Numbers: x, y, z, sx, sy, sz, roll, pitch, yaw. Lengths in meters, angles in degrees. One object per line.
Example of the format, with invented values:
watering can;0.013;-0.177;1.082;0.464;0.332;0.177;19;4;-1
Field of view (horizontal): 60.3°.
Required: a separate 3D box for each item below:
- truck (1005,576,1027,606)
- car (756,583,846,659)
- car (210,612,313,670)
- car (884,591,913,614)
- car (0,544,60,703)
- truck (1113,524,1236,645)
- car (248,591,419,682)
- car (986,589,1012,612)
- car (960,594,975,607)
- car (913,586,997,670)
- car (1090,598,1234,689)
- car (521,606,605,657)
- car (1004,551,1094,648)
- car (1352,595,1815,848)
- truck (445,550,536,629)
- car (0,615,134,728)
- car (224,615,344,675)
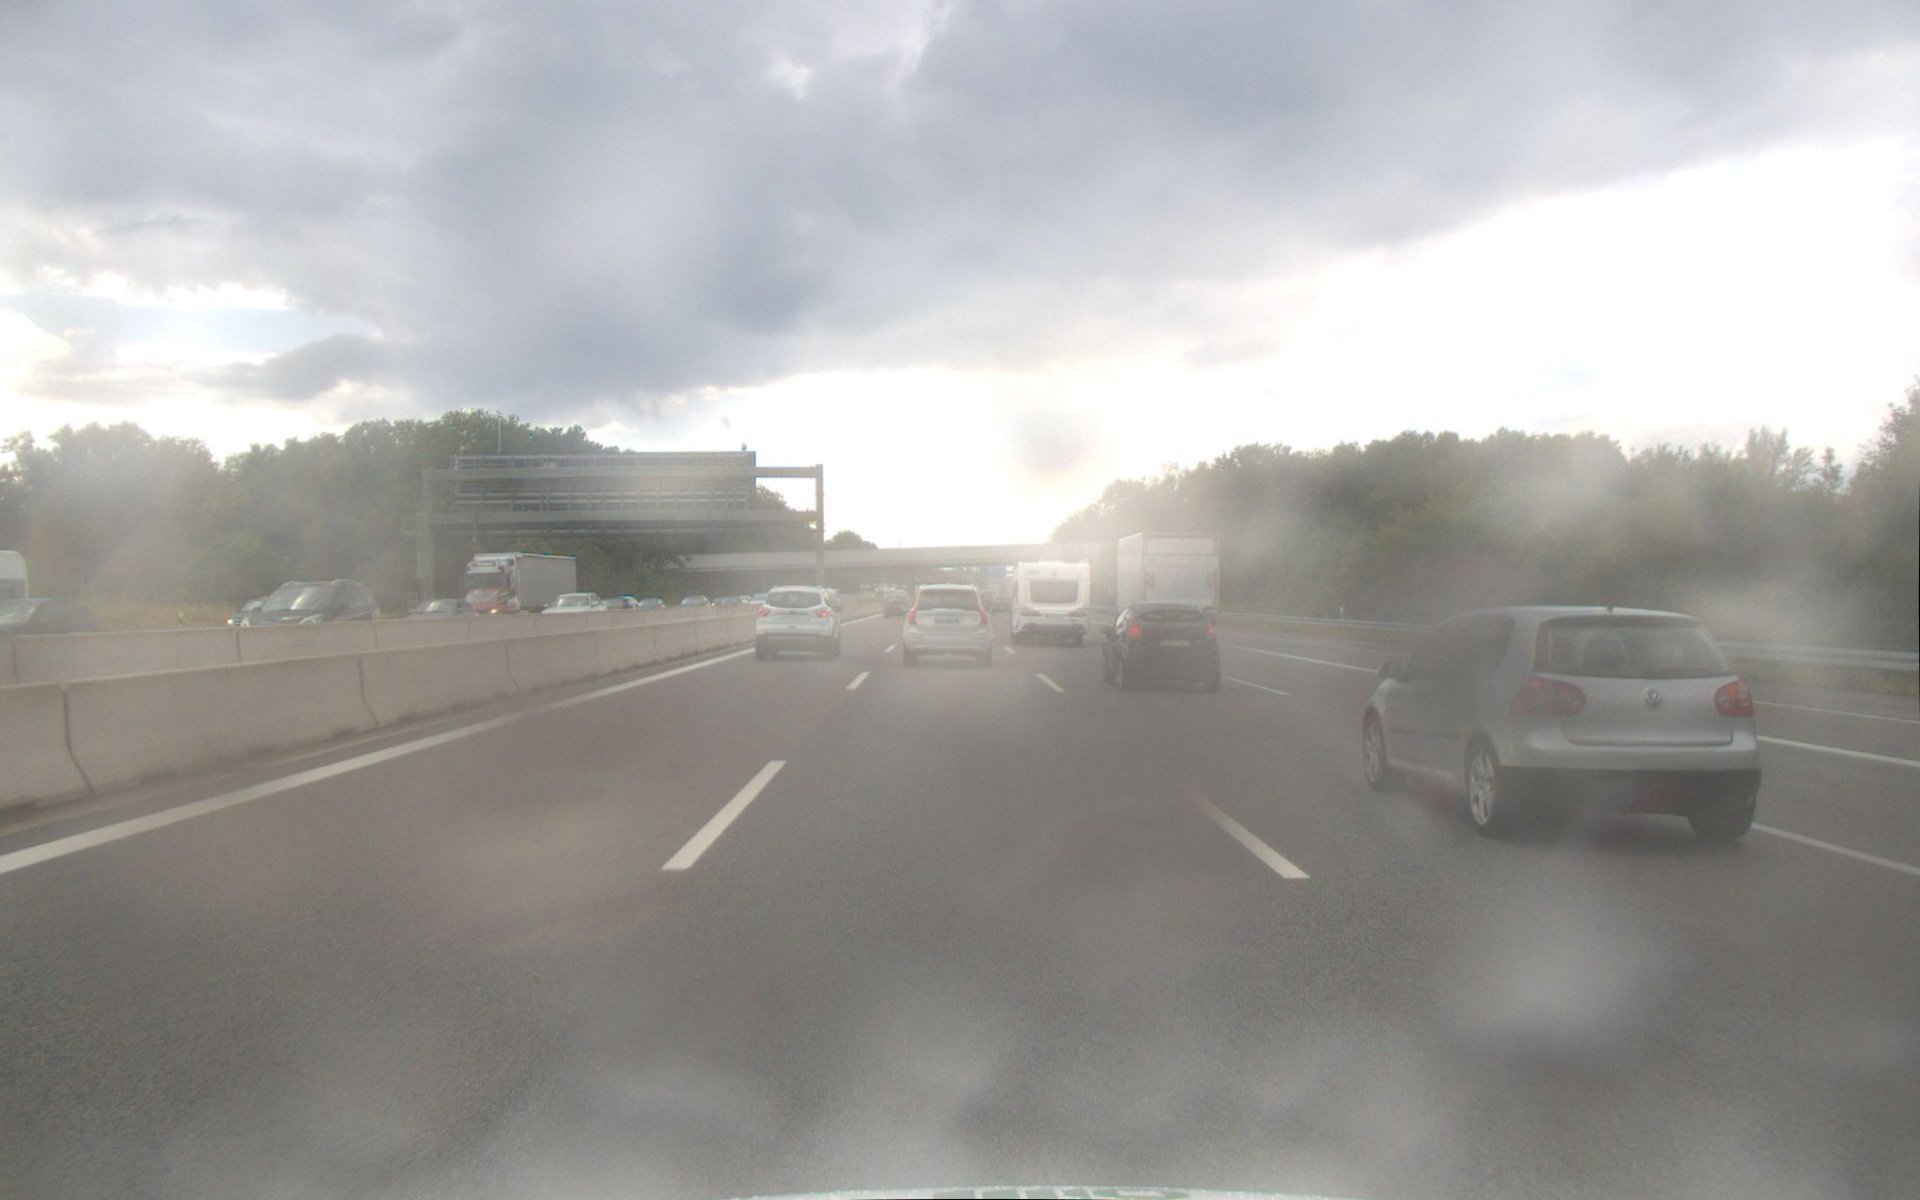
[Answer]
truck;7.531;-1.225;223.340;2.846;3.876;7.274;0;0;0
car;-3.748;0.455;39.728;1.778;1.719;4.851;0;1;-1
car;-26.092;1.492;61.964;1.953;2.049;4.542;0;0;0
car;-3.994;0.148;107.750;1.744;1.507;4.352;0;0;0
car;-21.418;0.491;33.768;2.606;3.335;6.560;0;0;-2
truck;7.205;-0.499;57.023;3.068;3.774;9.848;0;0;1
car;-13.387;0.723;35.676;1.953;1.812;4.672;0;0;-1
car;3.196;0.057;135.347;2.001;1.855;4.904;0;0;0
car;1.018;0.067;222.411;1.844;1.715;3.998;0;0;-3
car;-0.158;0.573;36.880;1.745;1.746;4.351;0;0;-2
car;3.397;0.696;28.560;1.847;1.431;4.281;0;0;-1
car;-14.497;1.129;60.680;1.953;1.744;4.871;0;0;-1
car;2.817;-0.026;54.261;2.514;2.946;7.533;0;0;0
car;4.220;0.723;11.934;1.759;1.503;4.037;0;0;-1
truck;-25.510;-0.552;90.167;3.155;4.128;6.231;0;0;-1
car;-17.653;1.295;31.380;1.953;1.937;3.999;0;0;-1
car;-21.558;1.399;52.936;1.953;1.744;4.698;0;0;-1
